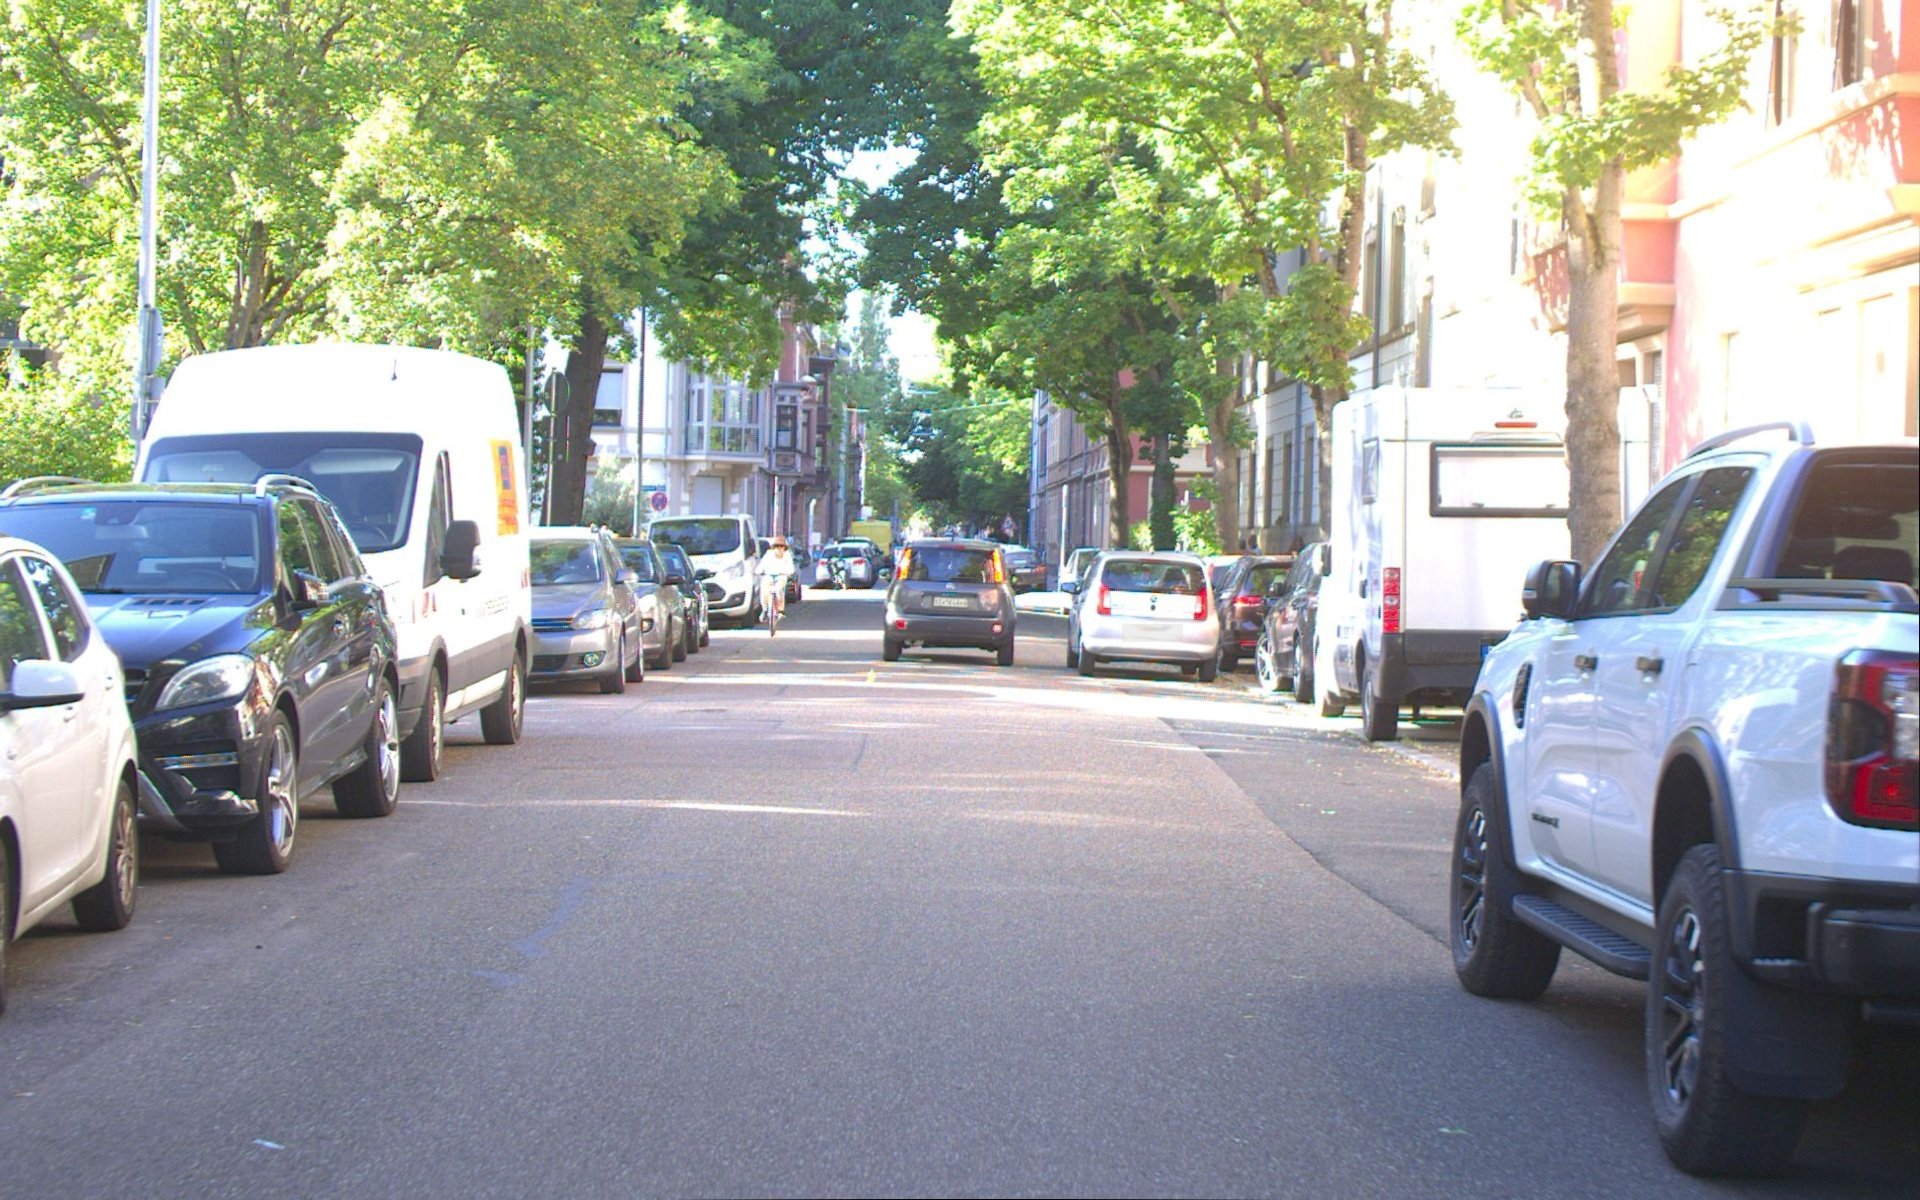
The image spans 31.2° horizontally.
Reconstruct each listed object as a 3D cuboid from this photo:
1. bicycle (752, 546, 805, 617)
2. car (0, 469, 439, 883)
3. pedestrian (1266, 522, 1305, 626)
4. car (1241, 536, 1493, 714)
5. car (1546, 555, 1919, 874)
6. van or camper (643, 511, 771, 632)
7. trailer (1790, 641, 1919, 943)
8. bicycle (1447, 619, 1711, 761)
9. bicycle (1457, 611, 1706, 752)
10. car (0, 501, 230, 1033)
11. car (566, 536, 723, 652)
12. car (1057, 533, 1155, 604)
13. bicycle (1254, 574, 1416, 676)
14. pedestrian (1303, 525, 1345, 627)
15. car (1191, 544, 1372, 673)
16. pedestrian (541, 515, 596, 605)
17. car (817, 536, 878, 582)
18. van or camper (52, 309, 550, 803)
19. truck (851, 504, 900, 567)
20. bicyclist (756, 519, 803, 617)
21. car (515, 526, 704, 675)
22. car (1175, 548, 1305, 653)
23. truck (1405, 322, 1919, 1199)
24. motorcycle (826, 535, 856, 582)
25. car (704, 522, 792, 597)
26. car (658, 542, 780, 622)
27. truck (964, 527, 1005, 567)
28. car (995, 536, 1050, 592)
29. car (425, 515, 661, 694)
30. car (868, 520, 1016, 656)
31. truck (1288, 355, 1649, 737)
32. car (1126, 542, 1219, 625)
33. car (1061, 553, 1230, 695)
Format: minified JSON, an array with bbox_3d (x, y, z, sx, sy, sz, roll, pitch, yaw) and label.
[{"bbox_3d":[-2.816,-0.296,53.403,0.665,1.073,1.685,2,1,2],"label":"bicycle"},{"bbox_3d":[-3.780,0.258,16.477,1.875,1.679,4.970,0,1,-1],"label":"car"},{"bbox_3d":[5.483,-0.446,57.934,0.520,1.729,0.878,2,1,0],"label":"pedestrian"},{"bbox_3d":[4.221,0.198,36.400,1.885,1.710,4.945,1,1,-2],"label":"car"},{"bbox_3d":[4.551,0.533,19.244,1.751,1.524,4.781,1,1,1],"label":"car"},{"bbox_3d":[-4.375,-0.518,60.123,1.921,1.973,5.462,-1,1,-1],"label":"van or camper"},{"bbox_3d":[4.555,0.768,13.753,2.079,1.108,1.116,2,1,-14],"label":"trailer"},{"bbox_3d":[4.479,0.645,24.930,1.785,0.945,0.579,2,1,1],"label":"bicycle"},{"bbox_3d":[4.725,0.619,26.177,1.702,0.996,0.707,2,1,-6],"label":"bicycle"},{"bbox_3d":[-3.636,0.465,11.409,1.635,1.546,4.089,1,1,-1],"label":"car"},{"bbox_3d":[-4.133,-0.120,45.596,1.713,1.390,4.780,-2,1,-2],"label":"car"},{"bbox_3d":[3.340,-0.741,79.505,1.788,1.545,4.410,2,1,-3],"label":"car"},{"bbox_3d":[4.387,0.285,40.262,1.811,1.163,0.569,-1,1,-1],"label":"bicycle"},{"bbox_3d":[6.104,-0.408,57.739,0.595,1.695,0.689,2,1,1],"label":"pedestrian"},{"bbox_3d":[4.136,0.072,44.802,1.786,1.508,4.460,2,1,-1],"label":"car"},{"bbox_3d":[-7.052,-0.722,61.929,0.881,1.572,0.529,2,1,1],"label":"pedestrian"},{"bbox_3d":[-3.671,-1.356,112.586,1.797,1.427,3.925,-2,1,1],"label":"car"},{"bbox_3d":[-4.049,-0.304,22.236,2.128,2.759,5.852,-1,1,-1],"label":"van or camper"},{"bbox_3d":[-4.038,-3.100,165.185,2.070,2.916,5.068,-2,1,0],"label":"truck"},{"bbox_3d":[-2.805,-0.498,53.423,0.651,1.503,0.624,2,1,2],"label":"bicyclist"},{"bbox_3d":[-3.947,-0.040,39.297,1.676,1.567,4.152,-1,1,0],"label":"car"},{"bbox_3d":[4.117,-0.019,51.024,1.596,1.483,3.748,1,1,0],"label":"car"},{"bbox_3d":[2.595,0.377,9.815,1.828,1.942,5.541,2,1,0],"label":"truck"},{"bbox_3d":[-3.783,-1.319,109.288,0.696,1.455,1.751,0,1,-10],"label":"motorcycle"},{"bbox_3d":[-4.657,-0.910,75.947,1.824,1.548,4.134,-2,1,-3],"label":"car"},{"bbox_3d":[-4.563,-0.374,65.643,2.001,1.452,4.606,-1,1,0],"label":"car"},{"bbox_3d":[1.271,-2.777,178.893,1.993,1.985,4.000,2,1,0],"label":"truck"},{"bbox_3d":[1.993,-1.161,110.126,1.663,1.663,3.757,3,1,1],"label":"car"},{"bbox_3d":[-3.935,-0.003,33.091,1.780,1.585,4.469,-1,1,-1],"label":"car"},{"bbox_3d":[-0.262,-0.178,42.792,1.632,1.545,3.265,2,2,-3],"label":"car"},{"bbox_3d":[4.279,-0.488,29.975,2.073,2.958,6.110,-1,1,-1],"label":"truck"},{"bbox_3d":[4.048,-0.329,65.855,1.520,1.505,3.544,1,1,0],"label":"car"},{"bbox_3d":[2.191,0.248,41.479,1.679,1.539,3.800,3,1,-1],"label":"car"}]
